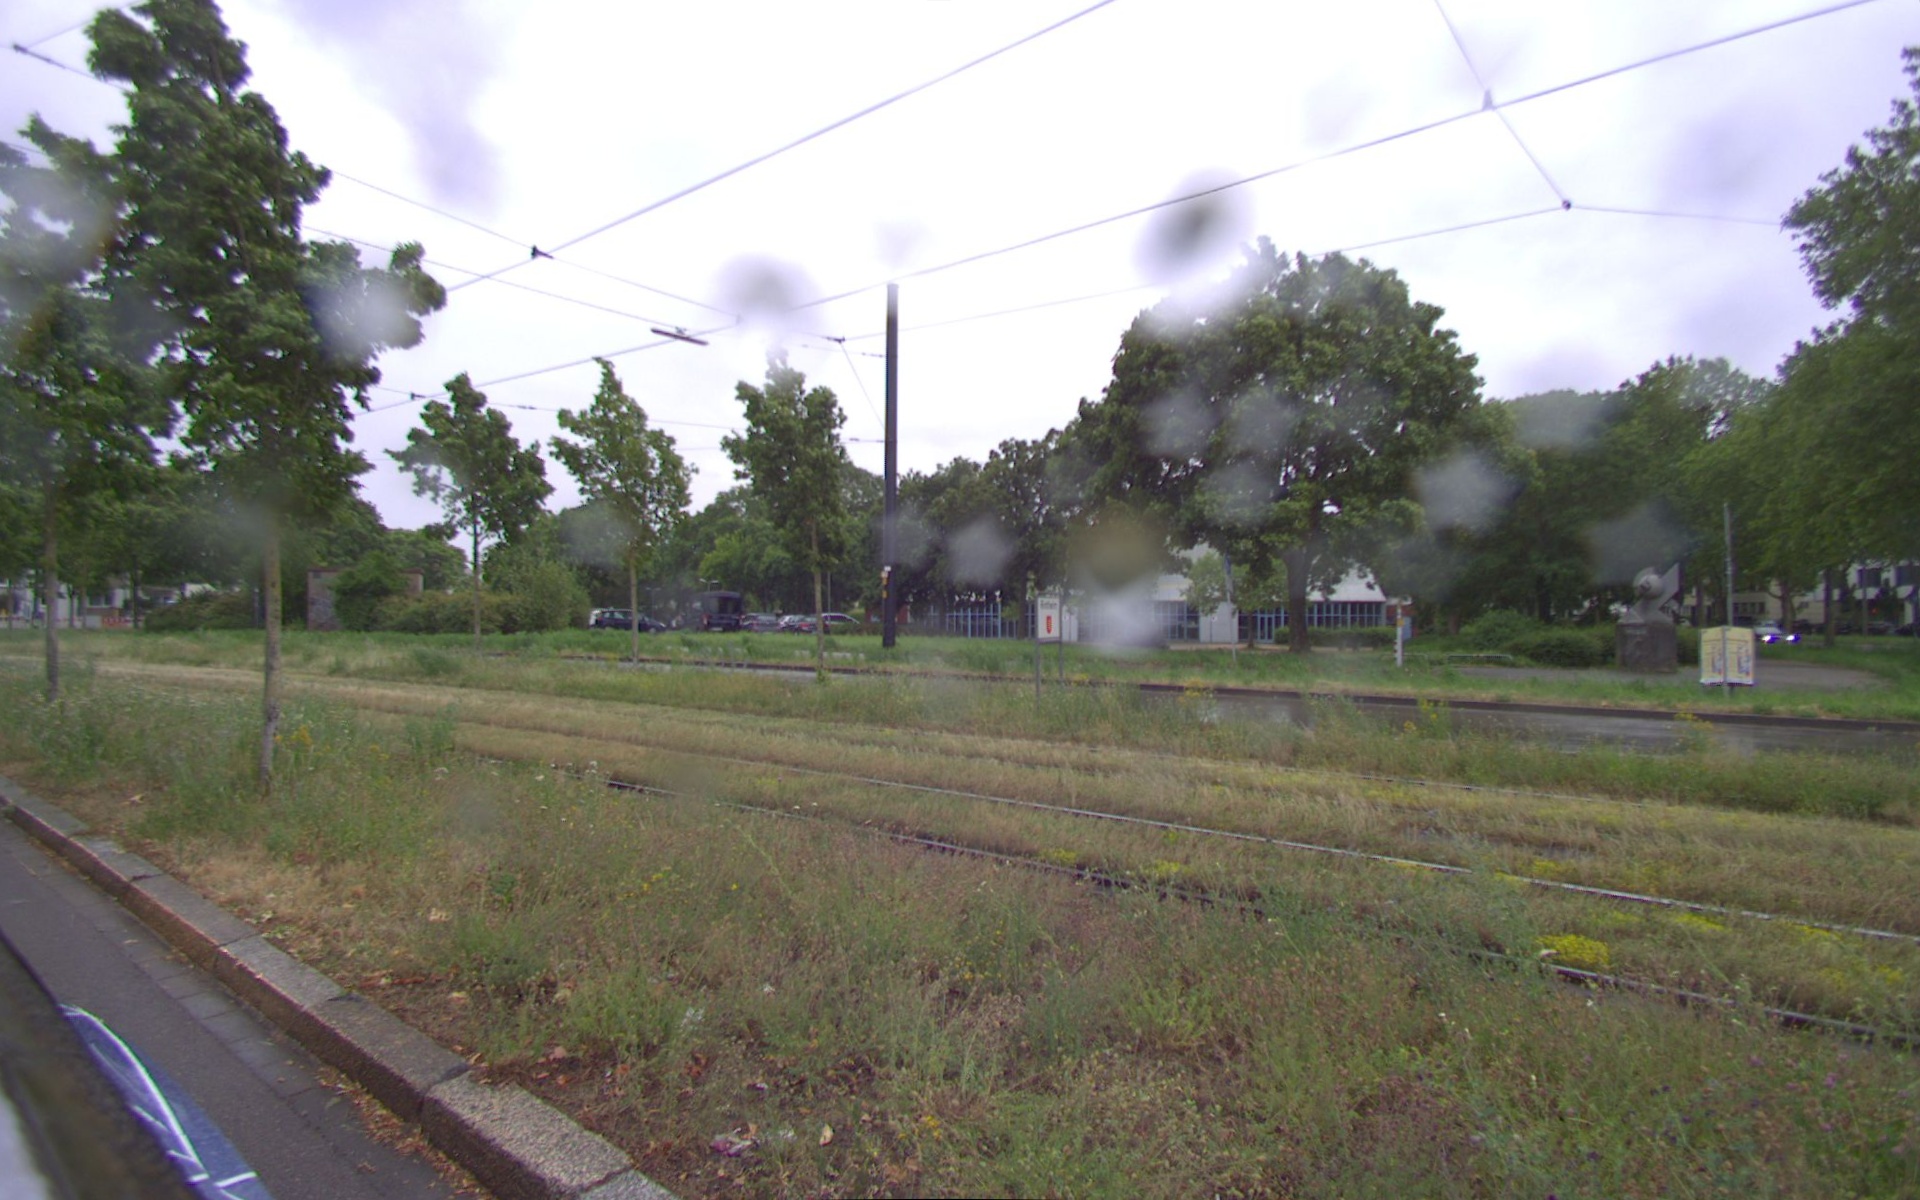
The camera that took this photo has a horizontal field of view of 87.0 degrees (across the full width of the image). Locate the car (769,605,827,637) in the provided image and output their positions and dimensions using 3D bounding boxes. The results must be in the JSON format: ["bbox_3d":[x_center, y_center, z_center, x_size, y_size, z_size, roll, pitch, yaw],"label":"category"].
[{"bbox_3d":[-8.764,1.096,54.412,2.026,1.584,5.032,-1,0,-21],"label":"car"}]

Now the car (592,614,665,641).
[{"bbox_3d":[-20.298,1.645,61.892,4.110,1.494,1.789,-1,0,-23],"label":"car"}]

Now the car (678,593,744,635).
[{"bbox_3d":[-12.832,0.703,51.941,2.273,2.029,5.134,-1,0,-25],"label":"car"}]

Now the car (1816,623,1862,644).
[{"bbox_3d":[81.656,3.104,94.066,1.986,1.796,3.972,-1,0,21],"label":"car"}]

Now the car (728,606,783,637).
[{"bbox_3d":[-10.915,1.123,53.714,1.726,1.542,4.865,-1,0,-25],"label":"car"}]

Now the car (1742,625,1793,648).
[{"bbox_3d":[52.790,2.405,66.248,1.797,1.417,4.416,-1,-3,28],"label":"car"}]

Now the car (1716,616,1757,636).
[{"bbox_3d":[86.354,2.834,112.583,2.108,2.104,3.982,-1,0,14],"label":"car"}]

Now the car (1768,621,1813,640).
[{"bbox_3d":[82.976,3.026,101.163,1.982,1.796,3.979,-1,0,16],"label":"car"}]
